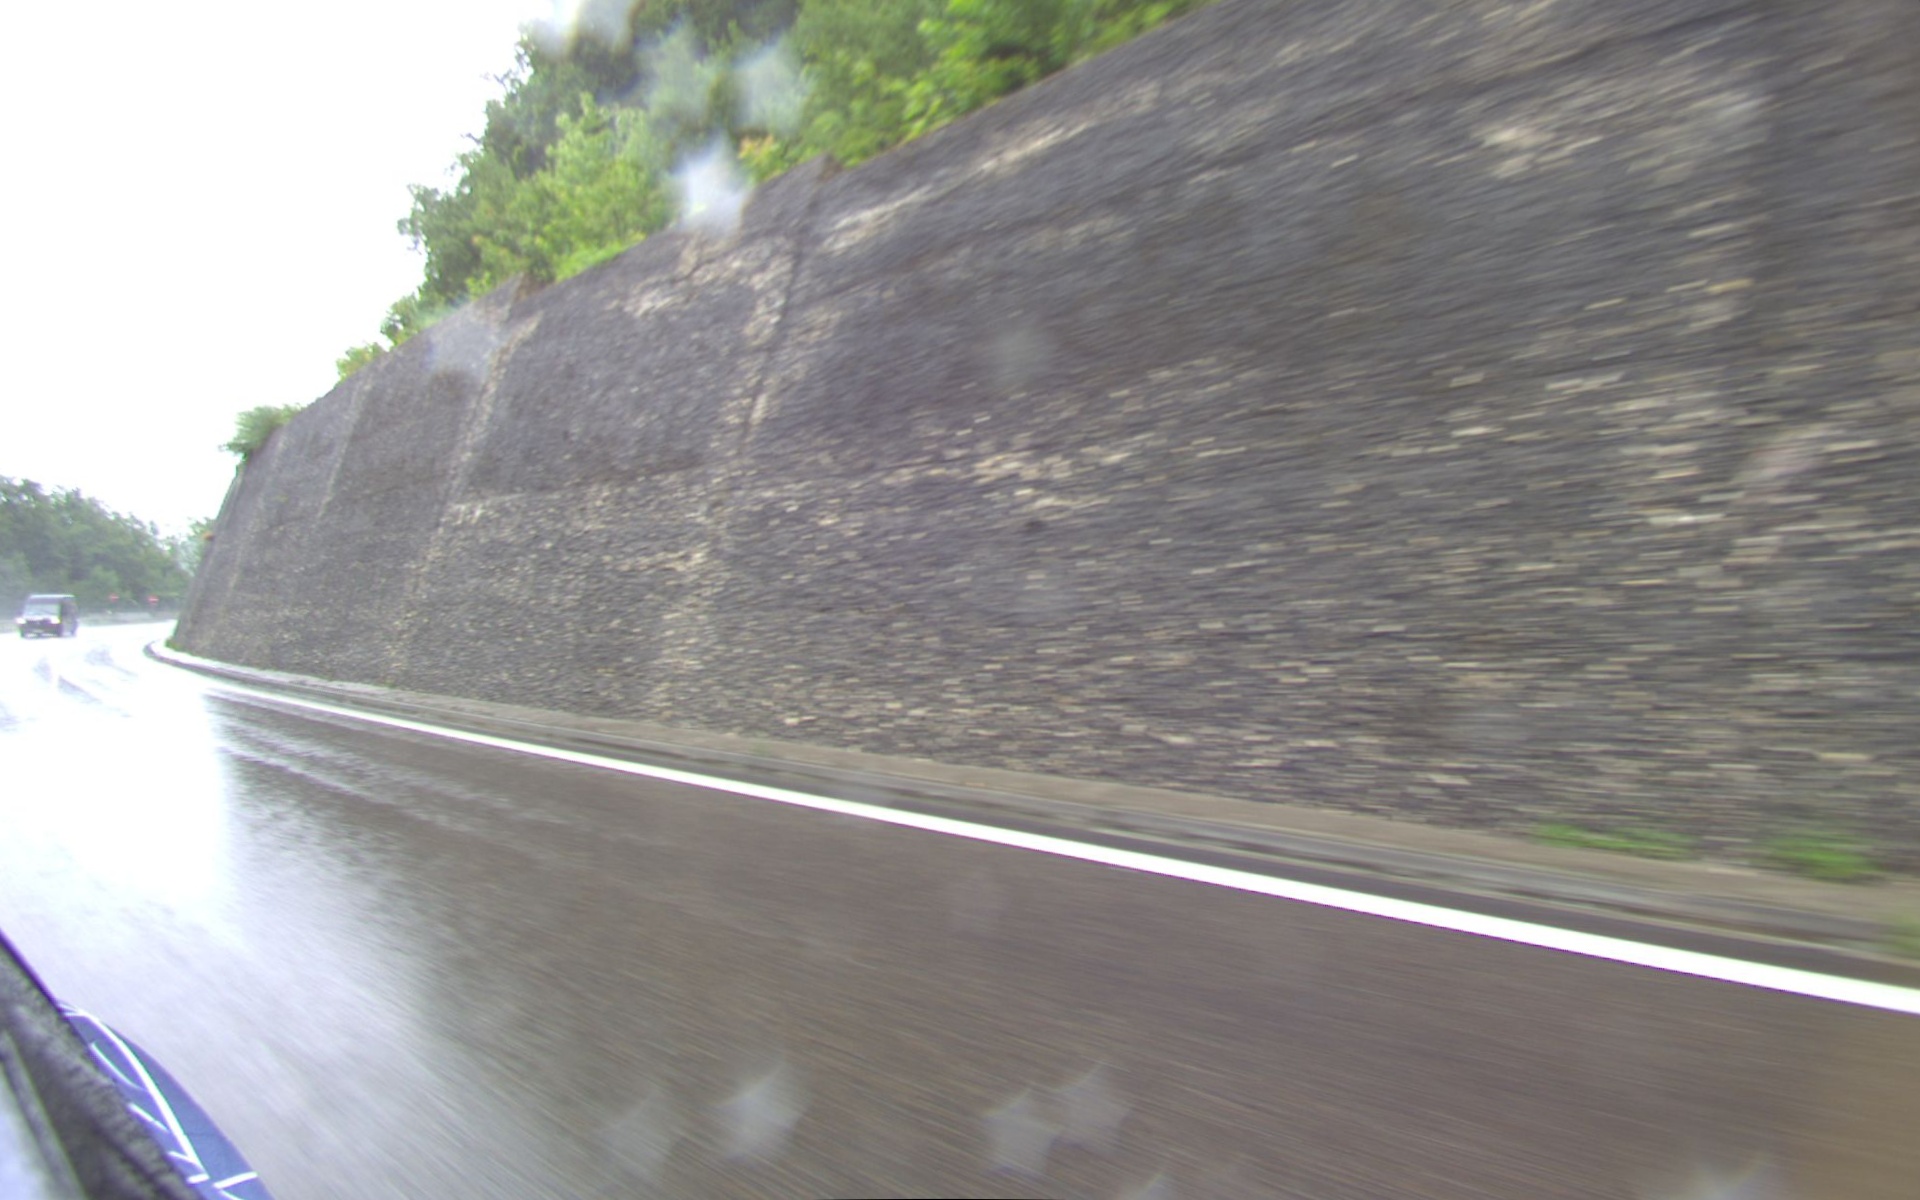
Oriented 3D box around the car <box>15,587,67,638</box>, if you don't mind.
[{"bbox_3d":[-57.067,0.776,62.901,1.714,3.048,4.011,1,-1,-32],"label":"car"}]
